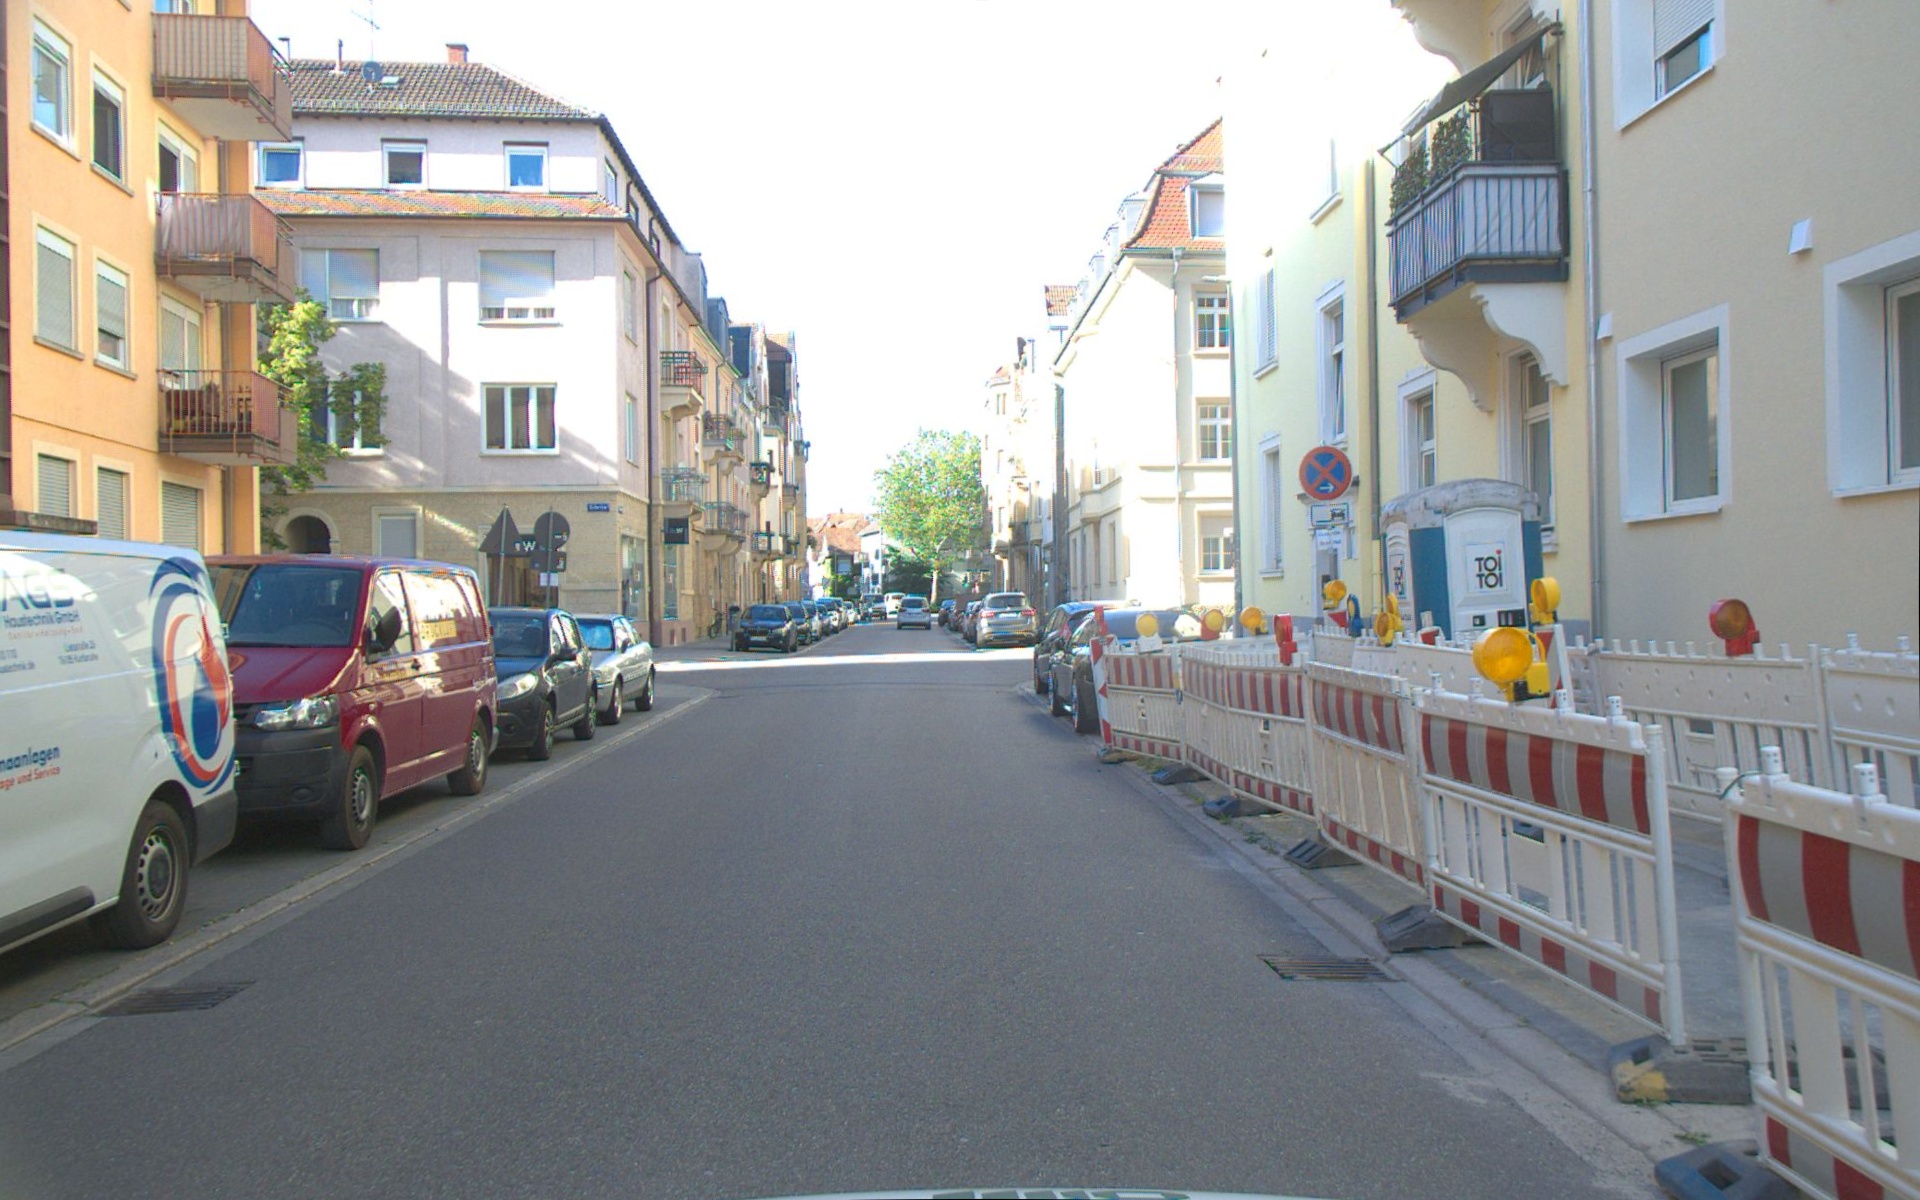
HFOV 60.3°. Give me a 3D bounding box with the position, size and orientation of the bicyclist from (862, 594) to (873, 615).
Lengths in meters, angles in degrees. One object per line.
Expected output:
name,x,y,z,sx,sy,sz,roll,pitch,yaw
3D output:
bicyclist,-6.491,0.339,116.093,0.649,1.409,0.753,-4,-1,-3

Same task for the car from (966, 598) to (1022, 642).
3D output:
car,1.237,0.773,61.535,1.802,1.456,4.027,-4,-1,-1

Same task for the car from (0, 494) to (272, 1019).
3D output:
car,-4.563,0.612,6.124,1.936,1.959,5.307,-2,0,-2

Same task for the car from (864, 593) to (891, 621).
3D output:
car,-6.207,0.531,124.609,1.963,2.035,4.484,0,-1,-3

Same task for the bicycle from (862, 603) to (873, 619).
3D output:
bicycle,-6.473,0.771,116.075,0.649,1.036,2.065,-4,-1,-3

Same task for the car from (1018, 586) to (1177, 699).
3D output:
car,2.083,0.617,26.249,1.729,1.496,4.080,-5,0,-5

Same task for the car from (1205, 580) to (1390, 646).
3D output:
car,8.967,0.367,44.119,4.454,1.494,1.824,-3,-2,-9

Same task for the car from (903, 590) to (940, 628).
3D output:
car,-2.103,0.502,89.148,1.963,1.947,4.485,0,-1,-2

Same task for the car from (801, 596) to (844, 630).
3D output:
car,-6.823,0.674,82.558,1.963,1.647,4.484,0,-1,-3

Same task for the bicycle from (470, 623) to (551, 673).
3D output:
bicycle,-11.466,1.223,42.200,1.861,1.155,0.526,-3,2,-5

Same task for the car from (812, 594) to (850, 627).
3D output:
car,-7.269,0.609,93.623,1.963,1.819,4.484,0,-1,-3

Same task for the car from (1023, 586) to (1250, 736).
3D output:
car,2.053,0.669,20.817,1.767,1.496,5.106,-5,0,-5

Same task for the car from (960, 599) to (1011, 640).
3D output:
car,1.004,0.816,66.919,1.802,1.456,4.027,-4,-1,-1

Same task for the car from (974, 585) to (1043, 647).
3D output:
car,1.438,0.518,50.673,1.874,1.673,4.773,-4,-1,0

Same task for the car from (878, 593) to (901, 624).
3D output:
car,-6.262,0.780,146.938,1.802,2.578,4.174,-4,-2,-1

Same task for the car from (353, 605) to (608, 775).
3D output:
car,-4.994,0.864,17.764,1.728,1.528,3.997,-2,0,-3

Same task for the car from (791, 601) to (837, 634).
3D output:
car,-6.835,0.821,77.757,1.939,1.508,4.325,0,-1,-3

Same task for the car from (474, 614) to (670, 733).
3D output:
car,-5.225,0.929,22.839,1.727,1.401,4.477,-1,0,-1

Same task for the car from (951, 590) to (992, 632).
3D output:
car,0.535,0.541,79.705,1.801,1.818,4.027,-3,-2,-1

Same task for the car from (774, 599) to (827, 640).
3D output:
car,-6.583,0.806,68.470,1.963,1.647,4.484,0,-1,-3

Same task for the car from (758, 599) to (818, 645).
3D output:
car,-6.326,0.814,61.328,1.963,1.610,4.484,0,-1,-3

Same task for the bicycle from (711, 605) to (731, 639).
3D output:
bicycle,-9.591,0.893,66.511,0.530,1.324,1.866,-1,0,-1

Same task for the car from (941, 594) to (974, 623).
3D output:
car,-0.171,0.524,98.516,1.802,1.456,4.027,-4,-2,-1

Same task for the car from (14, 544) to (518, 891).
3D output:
car,-4.705,0.677,12.117,1.727,1.959,4.932,-2,0,-2

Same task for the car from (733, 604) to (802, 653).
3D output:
car,-5.882,0.867,50.870,1.645,1.451,4.273,0,-1,0
